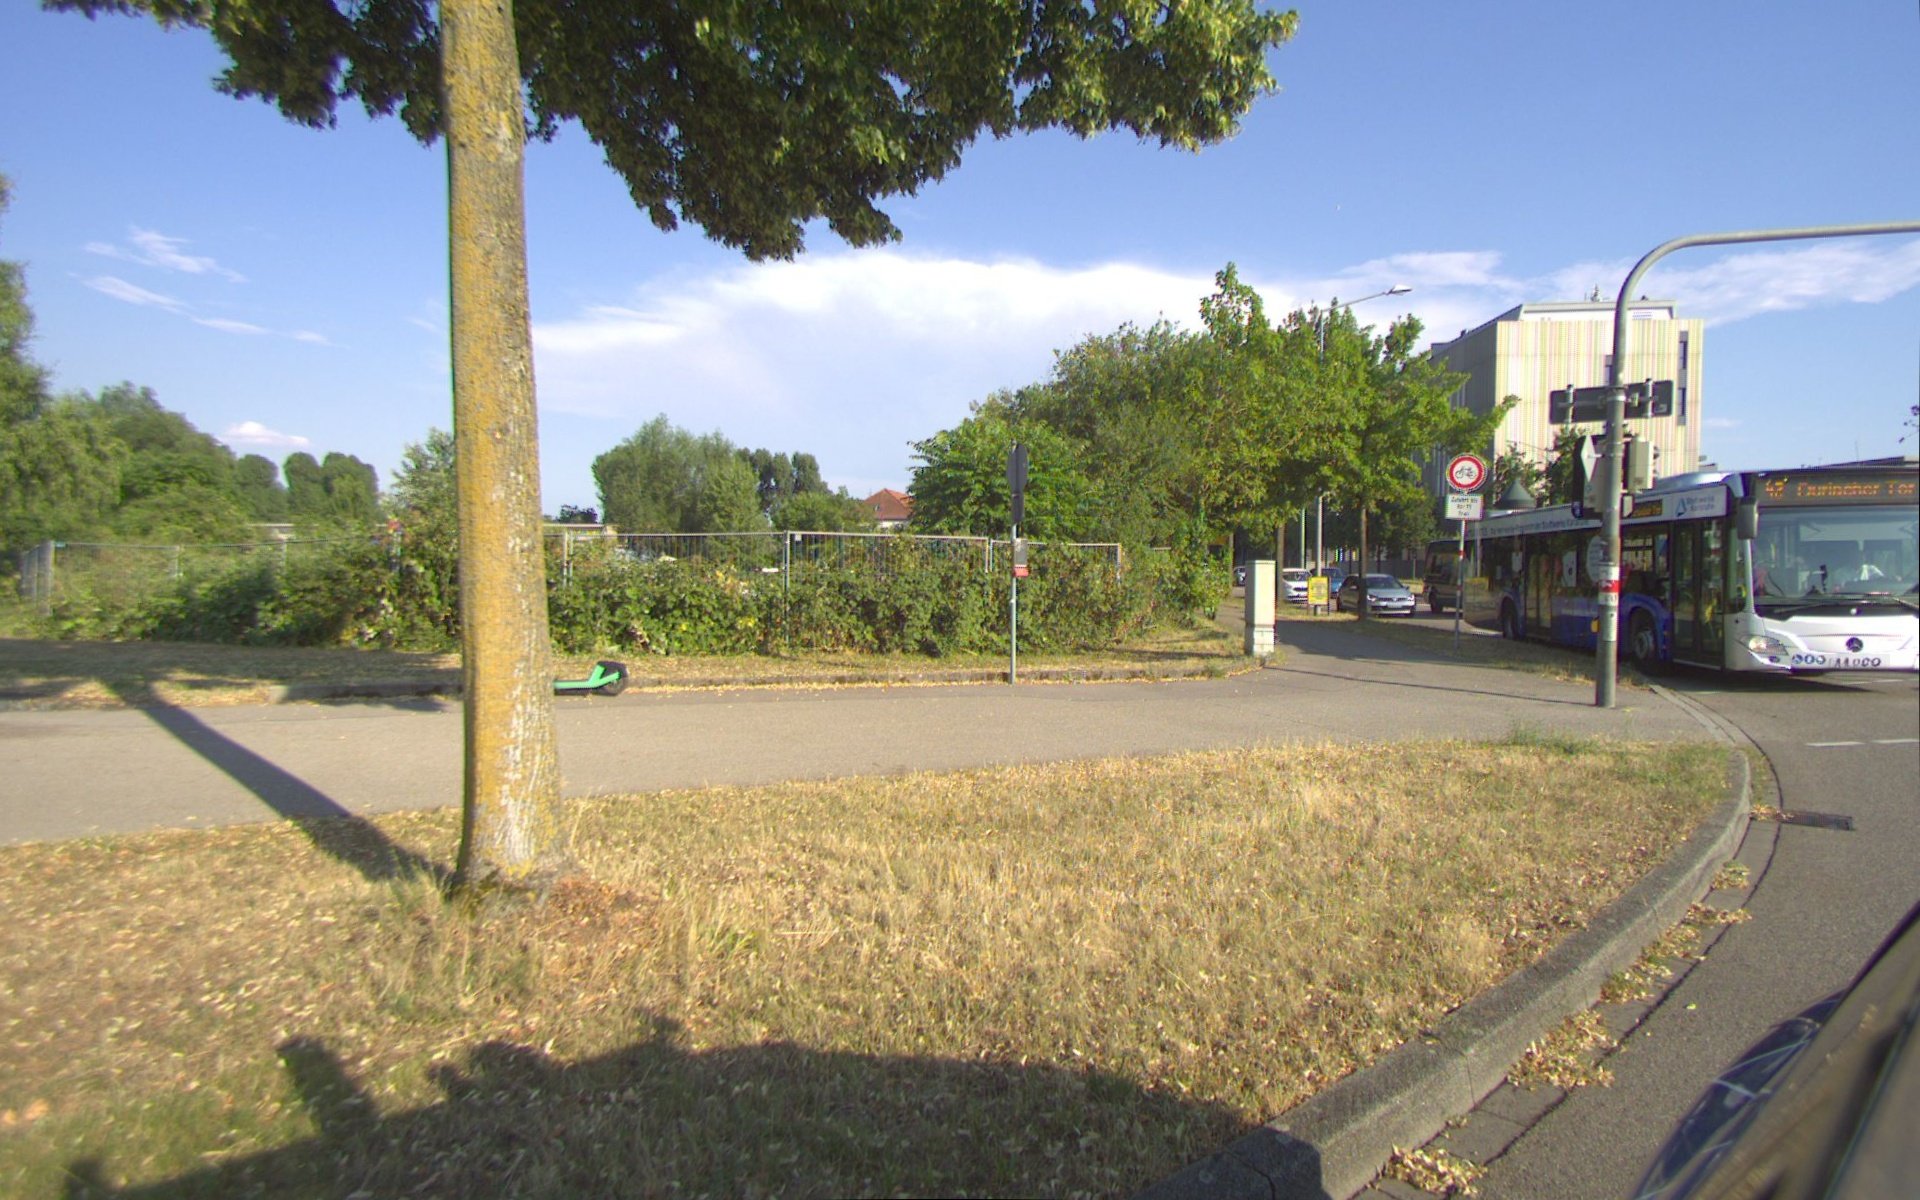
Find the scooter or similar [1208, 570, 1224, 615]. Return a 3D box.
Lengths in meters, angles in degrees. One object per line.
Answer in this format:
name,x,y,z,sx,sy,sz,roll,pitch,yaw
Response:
scooter or similar,6.650,-0.210,26.288,0.245,1.140,1.092,3,2,9

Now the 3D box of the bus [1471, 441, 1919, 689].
bus,12.485,-0.645,18.448,2.556,3.080,11.685,0,2,11

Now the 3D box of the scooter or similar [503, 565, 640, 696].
scooter or similar,-3.654,0.286,9.553,1.146,1.173,0.343,2,4,-14

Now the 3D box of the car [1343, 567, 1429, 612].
car,14.547,-0.401,34.750,1.557,1.441,3.625,1,2,3

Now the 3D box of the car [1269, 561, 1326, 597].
car,15.610,-1.000,46.942,1.557,1.581,3.625,1,2,3
